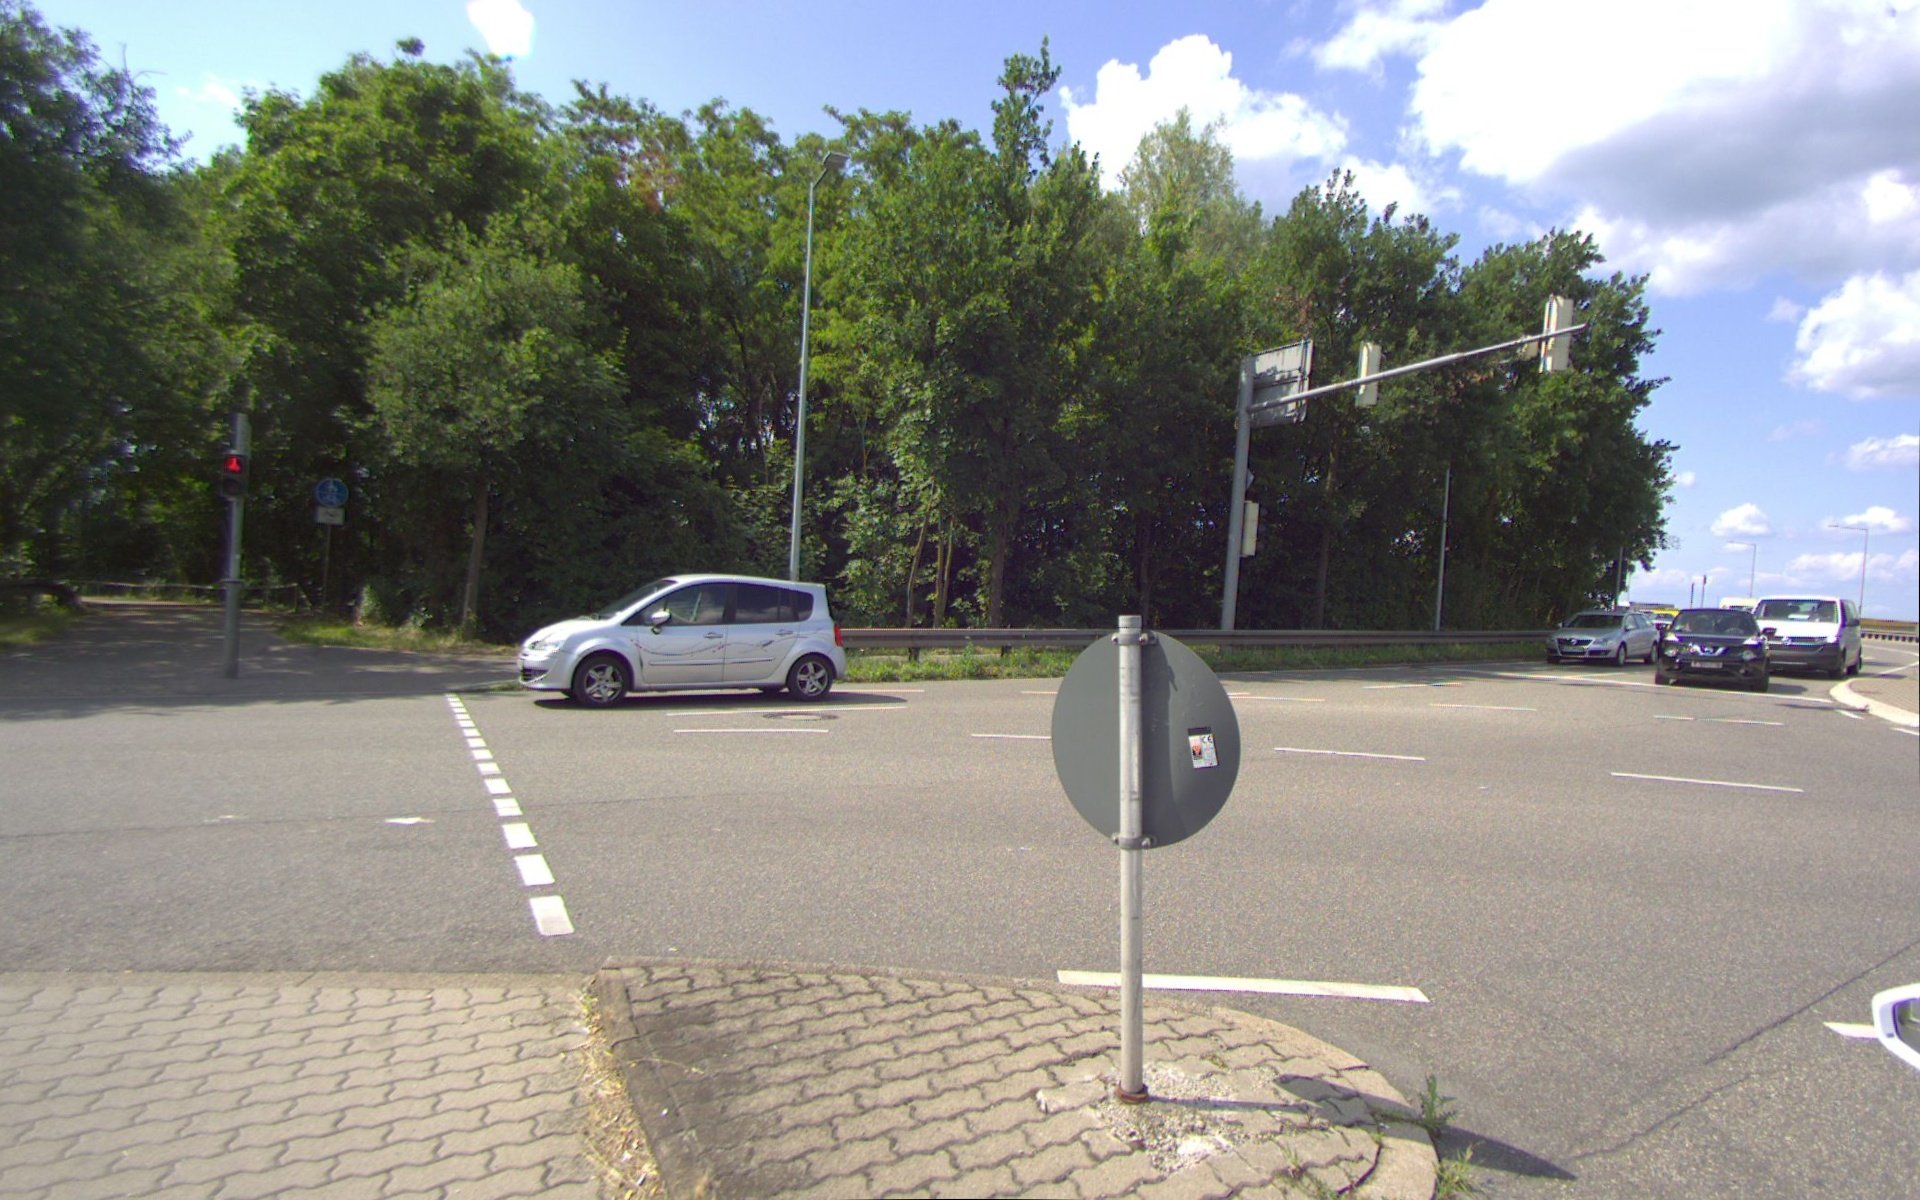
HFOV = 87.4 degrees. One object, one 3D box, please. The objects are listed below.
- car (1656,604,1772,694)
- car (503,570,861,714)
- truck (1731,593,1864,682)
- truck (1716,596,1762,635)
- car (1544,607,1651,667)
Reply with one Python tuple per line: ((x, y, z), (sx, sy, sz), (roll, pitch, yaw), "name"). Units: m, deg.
((15.165, 0.911, 20.192), (1.677, 1.578, 3.806), (2, 1, 38), "car")
((-3.426, 0.478, 12.572), (4.022, 1.541, 1.724), (1, 0, -31), "car")
((20.913, 0.867, 24.980), (5.334, 1.938, 1.941), (1, 1, -44), "truck")
((56.088, 1.105, 72.436), (1.965, 2.656, 6.089), (1, 0, 32), "truck")
((17.684, 0.992, 27.759), (1.664, 1.497, 4.686), (1, 0, 43), "car")
